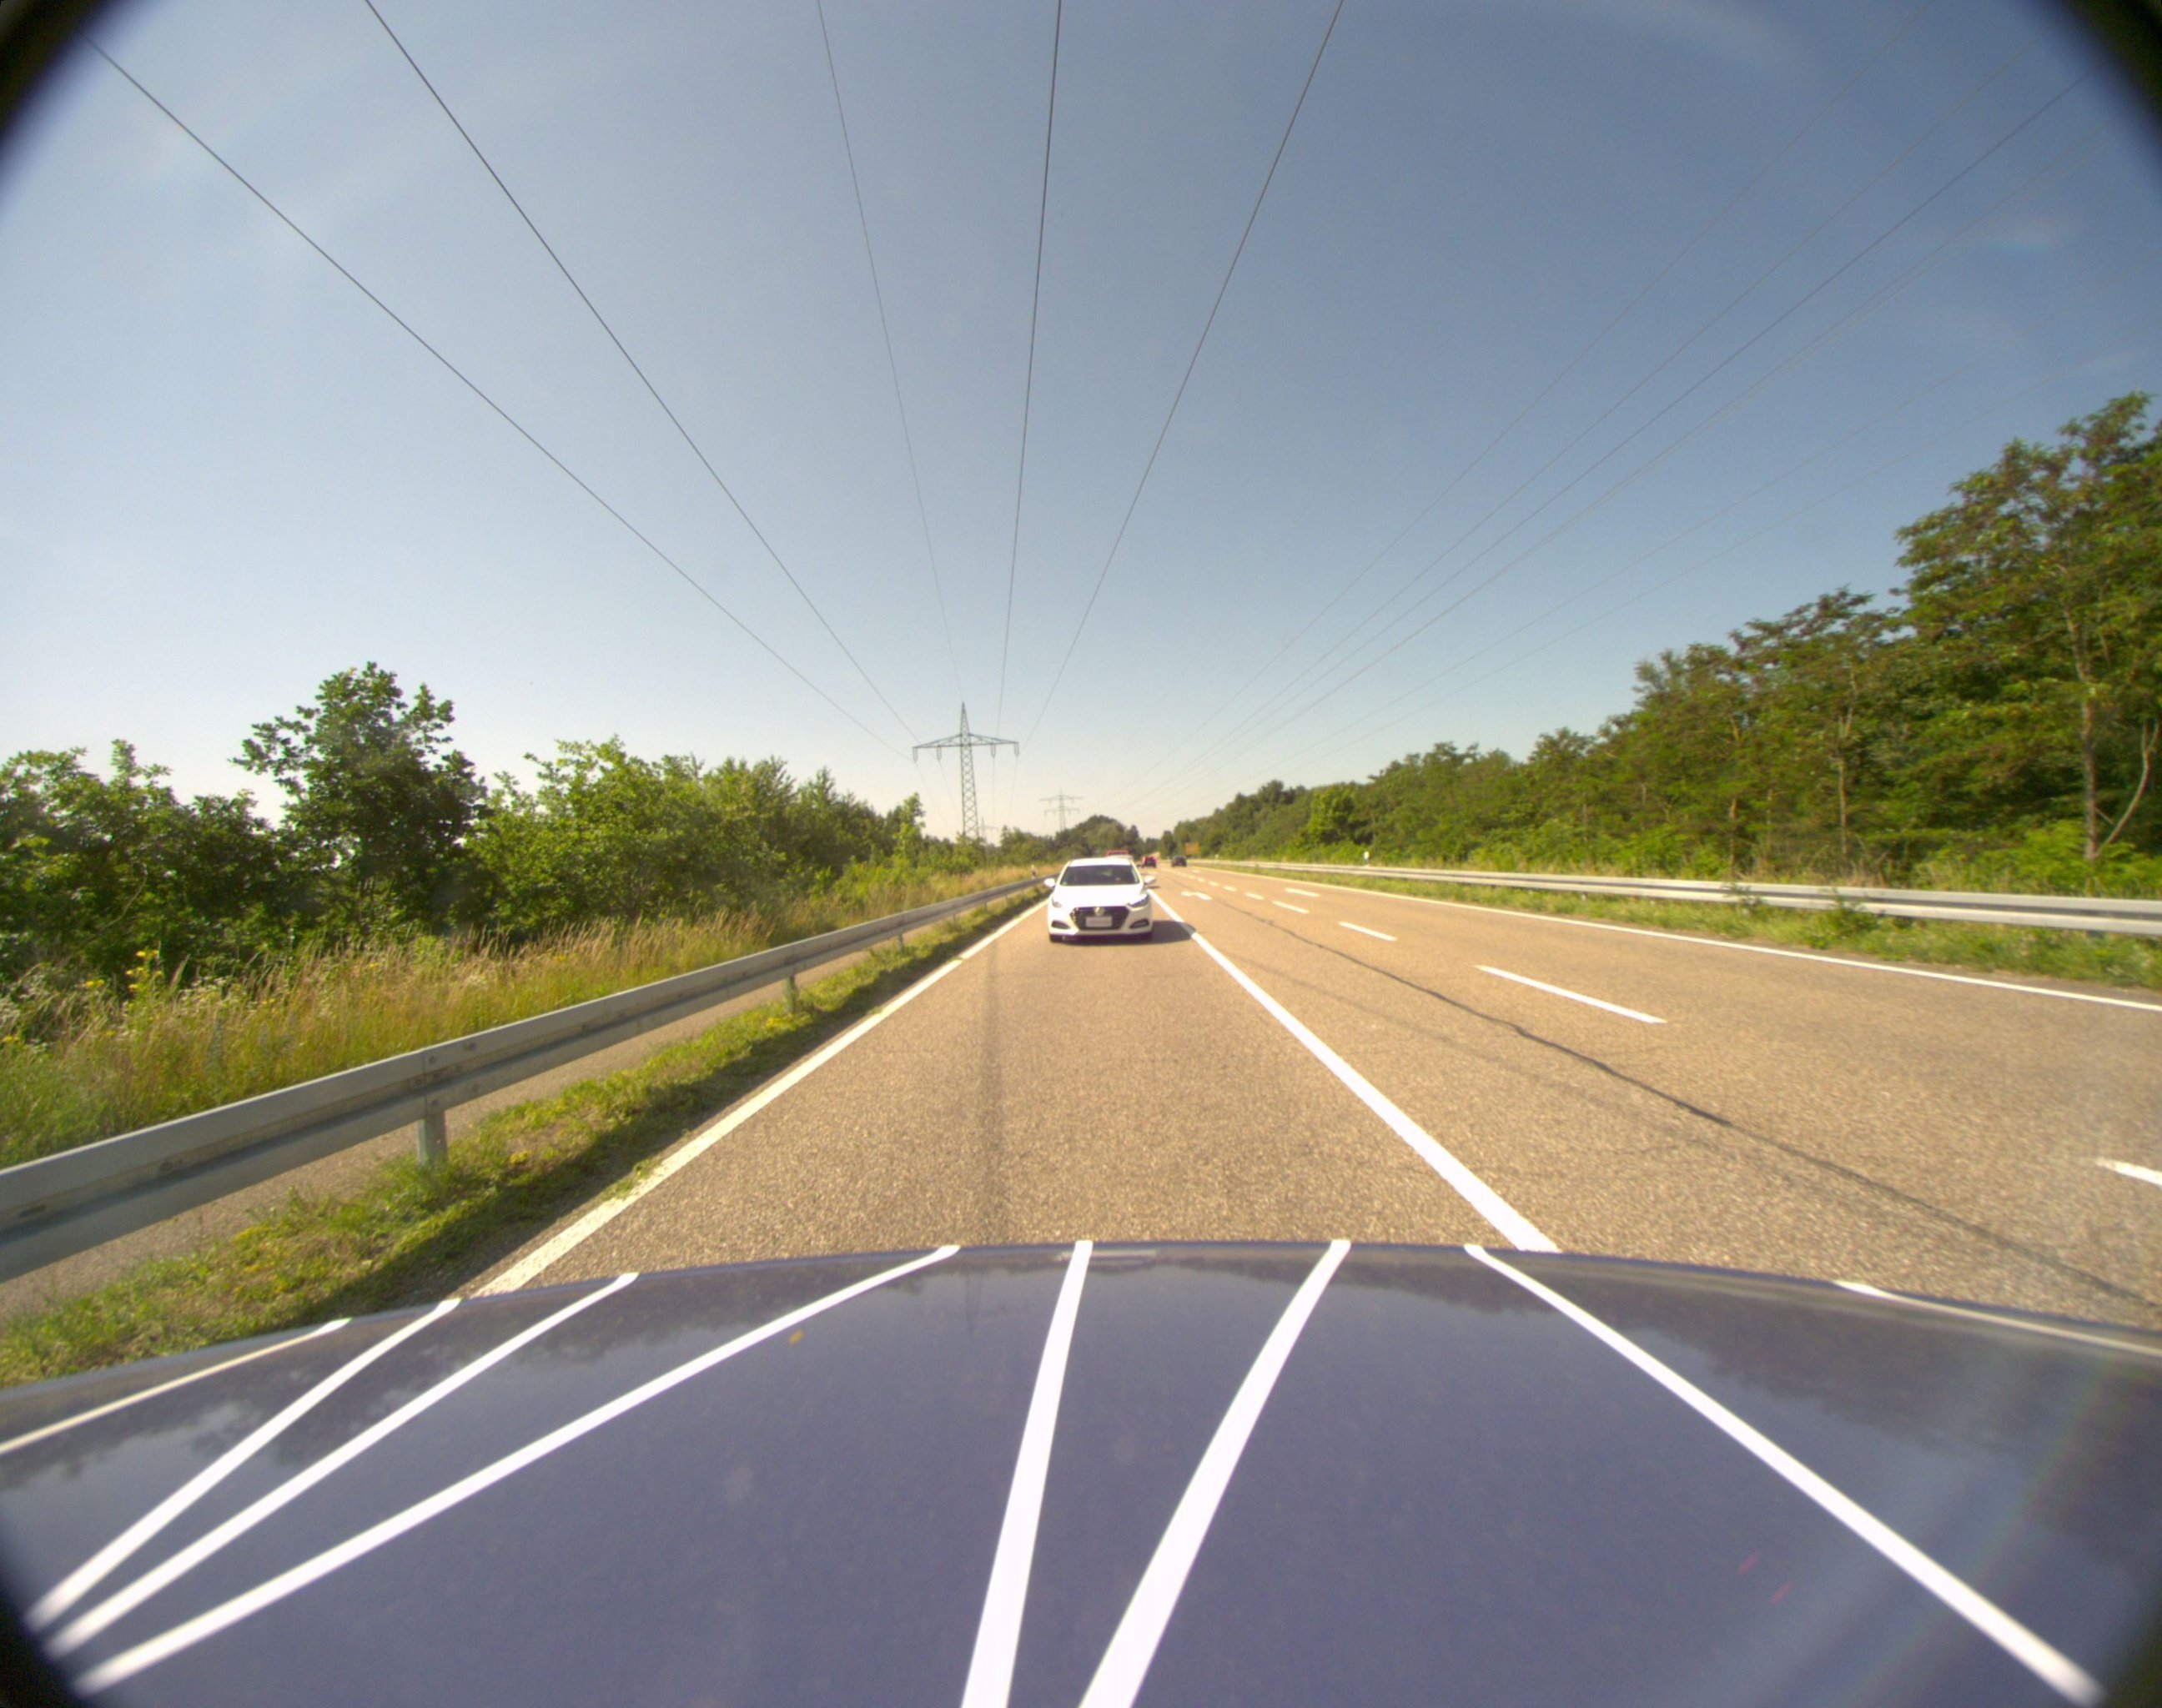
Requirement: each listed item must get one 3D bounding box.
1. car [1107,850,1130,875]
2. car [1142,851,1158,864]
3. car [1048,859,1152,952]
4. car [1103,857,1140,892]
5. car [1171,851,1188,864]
[{"bbox_3d":[3.013,0.683,61.819,1.794,1.892,4.838,-2,0,2],"label":"car"},{"bbox_3d":[8.694,0.427,95.978,1.731,1.482,4.423,-2,0,2],"label":"car"},{"bbox_3d":[0.406,0.871,14.767,1.683,1.471,4.474,-1,0,2],"label":"car"},{"bbox_3d":[1.831,0.887,34.878,1.549,1.460,3.661,-2,0,2],"label":"car"},{"bbox_3d":[12.310,0.430,95.086,1.663,1.433,4.215,-2,0,3],"label":"car"}]
